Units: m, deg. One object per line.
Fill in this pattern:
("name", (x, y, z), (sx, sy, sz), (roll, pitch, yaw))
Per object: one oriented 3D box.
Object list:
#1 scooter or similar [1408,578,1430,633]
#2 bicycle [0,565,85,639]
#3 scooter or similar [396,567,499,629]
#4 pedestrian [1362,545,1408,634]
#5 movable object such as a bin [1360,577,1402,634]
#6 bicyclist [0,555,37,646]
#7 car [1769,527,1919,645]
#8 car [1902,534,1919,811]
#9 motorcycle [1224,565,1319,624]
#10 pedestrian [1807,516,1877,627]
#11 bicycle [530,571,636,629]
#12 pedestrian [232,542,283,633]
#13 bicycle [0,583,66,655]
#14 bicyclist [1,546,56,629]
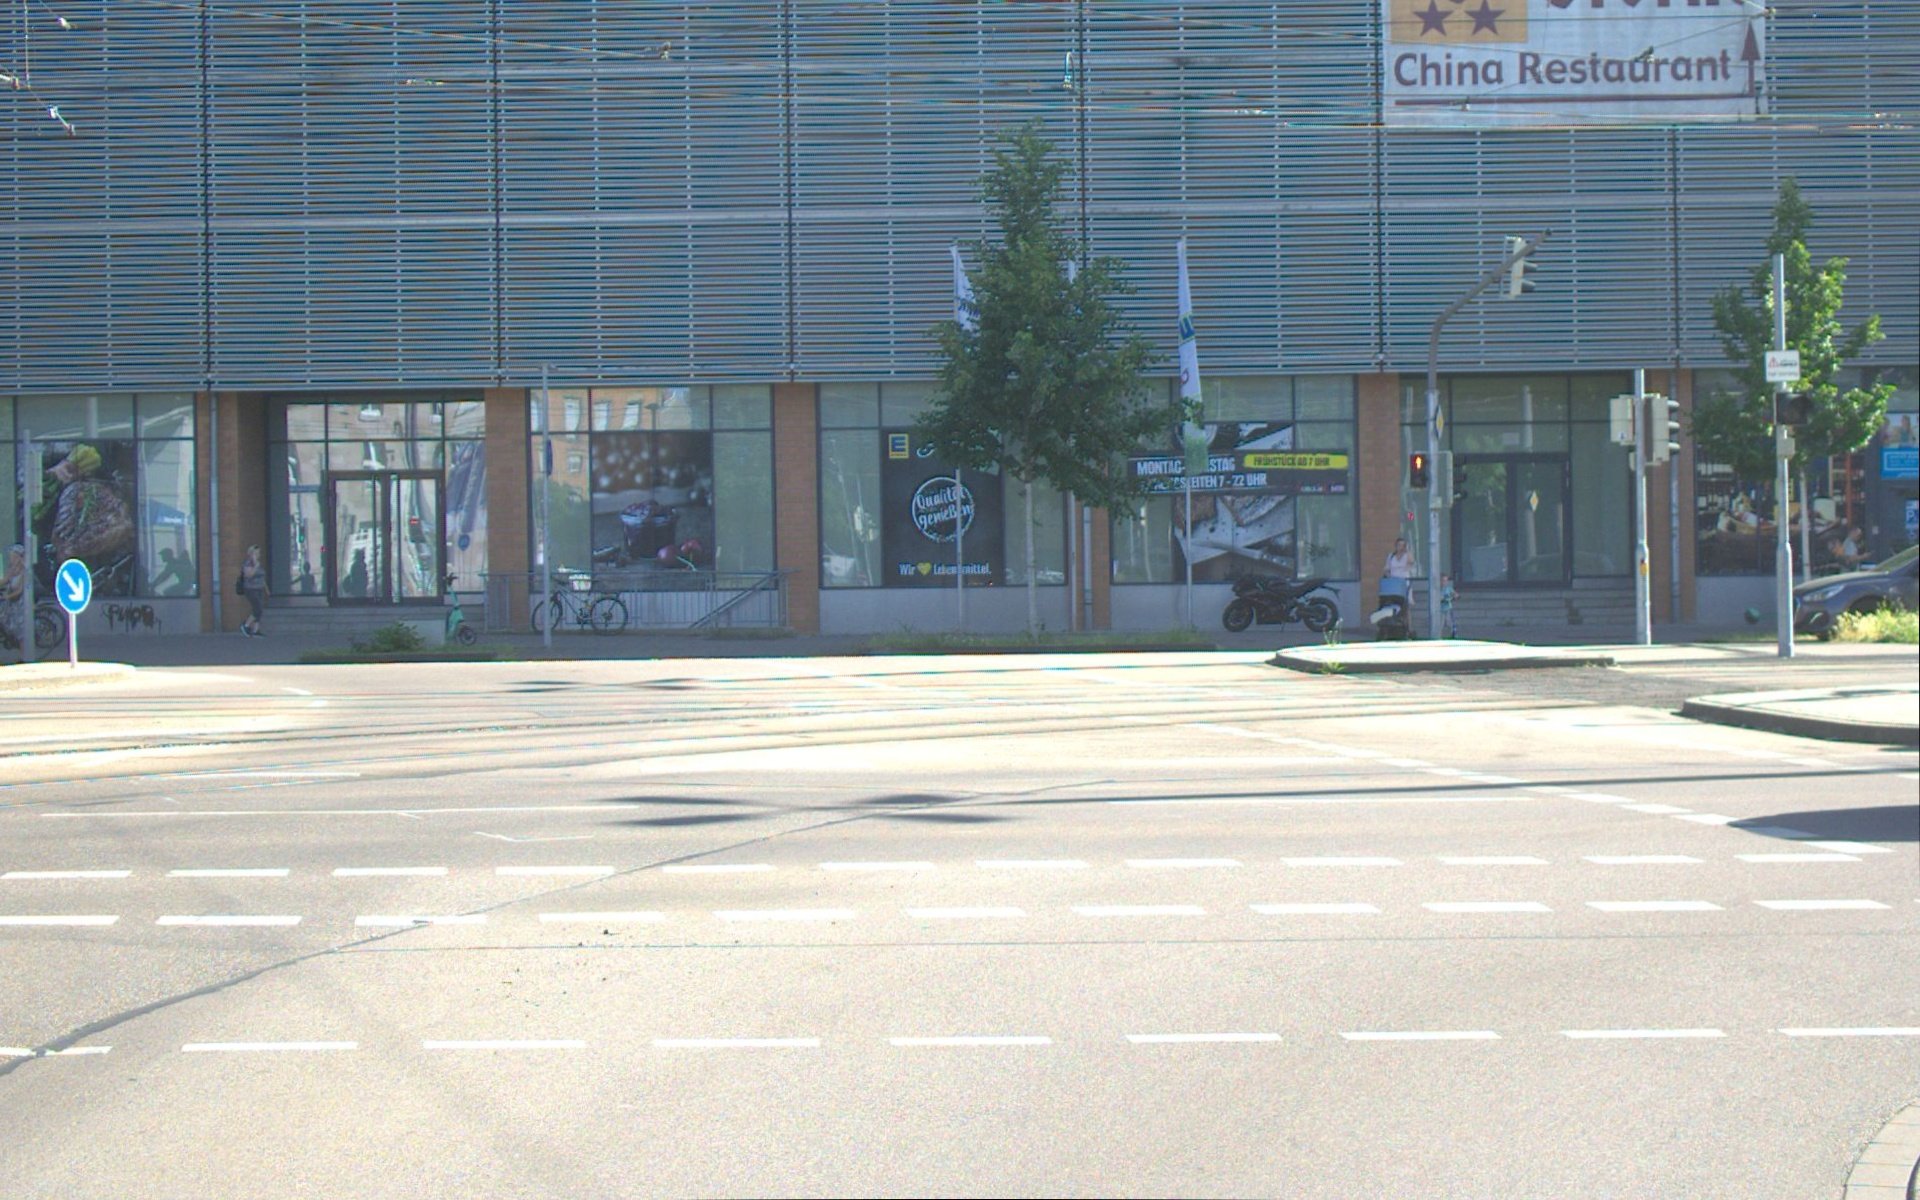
("scooter or similar", (7.353, 0.080, 55.086), (0.295, 0.870, 1.003), (1, 0, 10))
("bicycle", (-15.926, 0.036, 58.590), (1.857, 1.213, 0.569), (-1, 2, -1))
("scooter or similar", (-9.076, -0.040, 60.920), (1.792, 1.062, 0.613), (0, 2, -8))
("pedestrian", (6.833, -0.172, 55.263), (0.655, 1.409, 0.849), (1, 0, 10))
("movable object such as a bin", (6.715, 0.083, 54.802), (0.613, 0.901, 0.968), (1, 0, 10))
("bicyclist", (-15.277, 0.008, 54.776), (0.675, 1.422, 0.847), (1, 3, 43))
("car", (13.125, -0.120, 45.859), (4.146, 1.464, 1.841), (3, 0, -1))
("car", (7.296, 0.369, 17.775), (4.281, 1.467, 1.866), (-1, 1, -9))
("motorcycle", (5.497, -0.097, 60.630), (1.640, 1.001, 0.446), (1, 1, 6))
("pedestrian", (14.965, -0.474, 58.348), (0.950, 1.822, 0.845), (-2, -3, 5))
("bicycle", (-6.647, -0.011, 60.537), (1.815, 0.986, 0.558), (-1, 2, -10))
("pedestrian", (-12.428, -0.226, 60.805), (0.661, 1.595, 0.594), (1, 0, 18))
("bicycle", (-15.243, 0.317, 54.856), (0.568, 1.082, 1.859), (1, 3, 43))
("bicyclist", (-15.866, -0.217, 58.565), (0.753, 1.382, 0.565), (-1, 2, -1))
